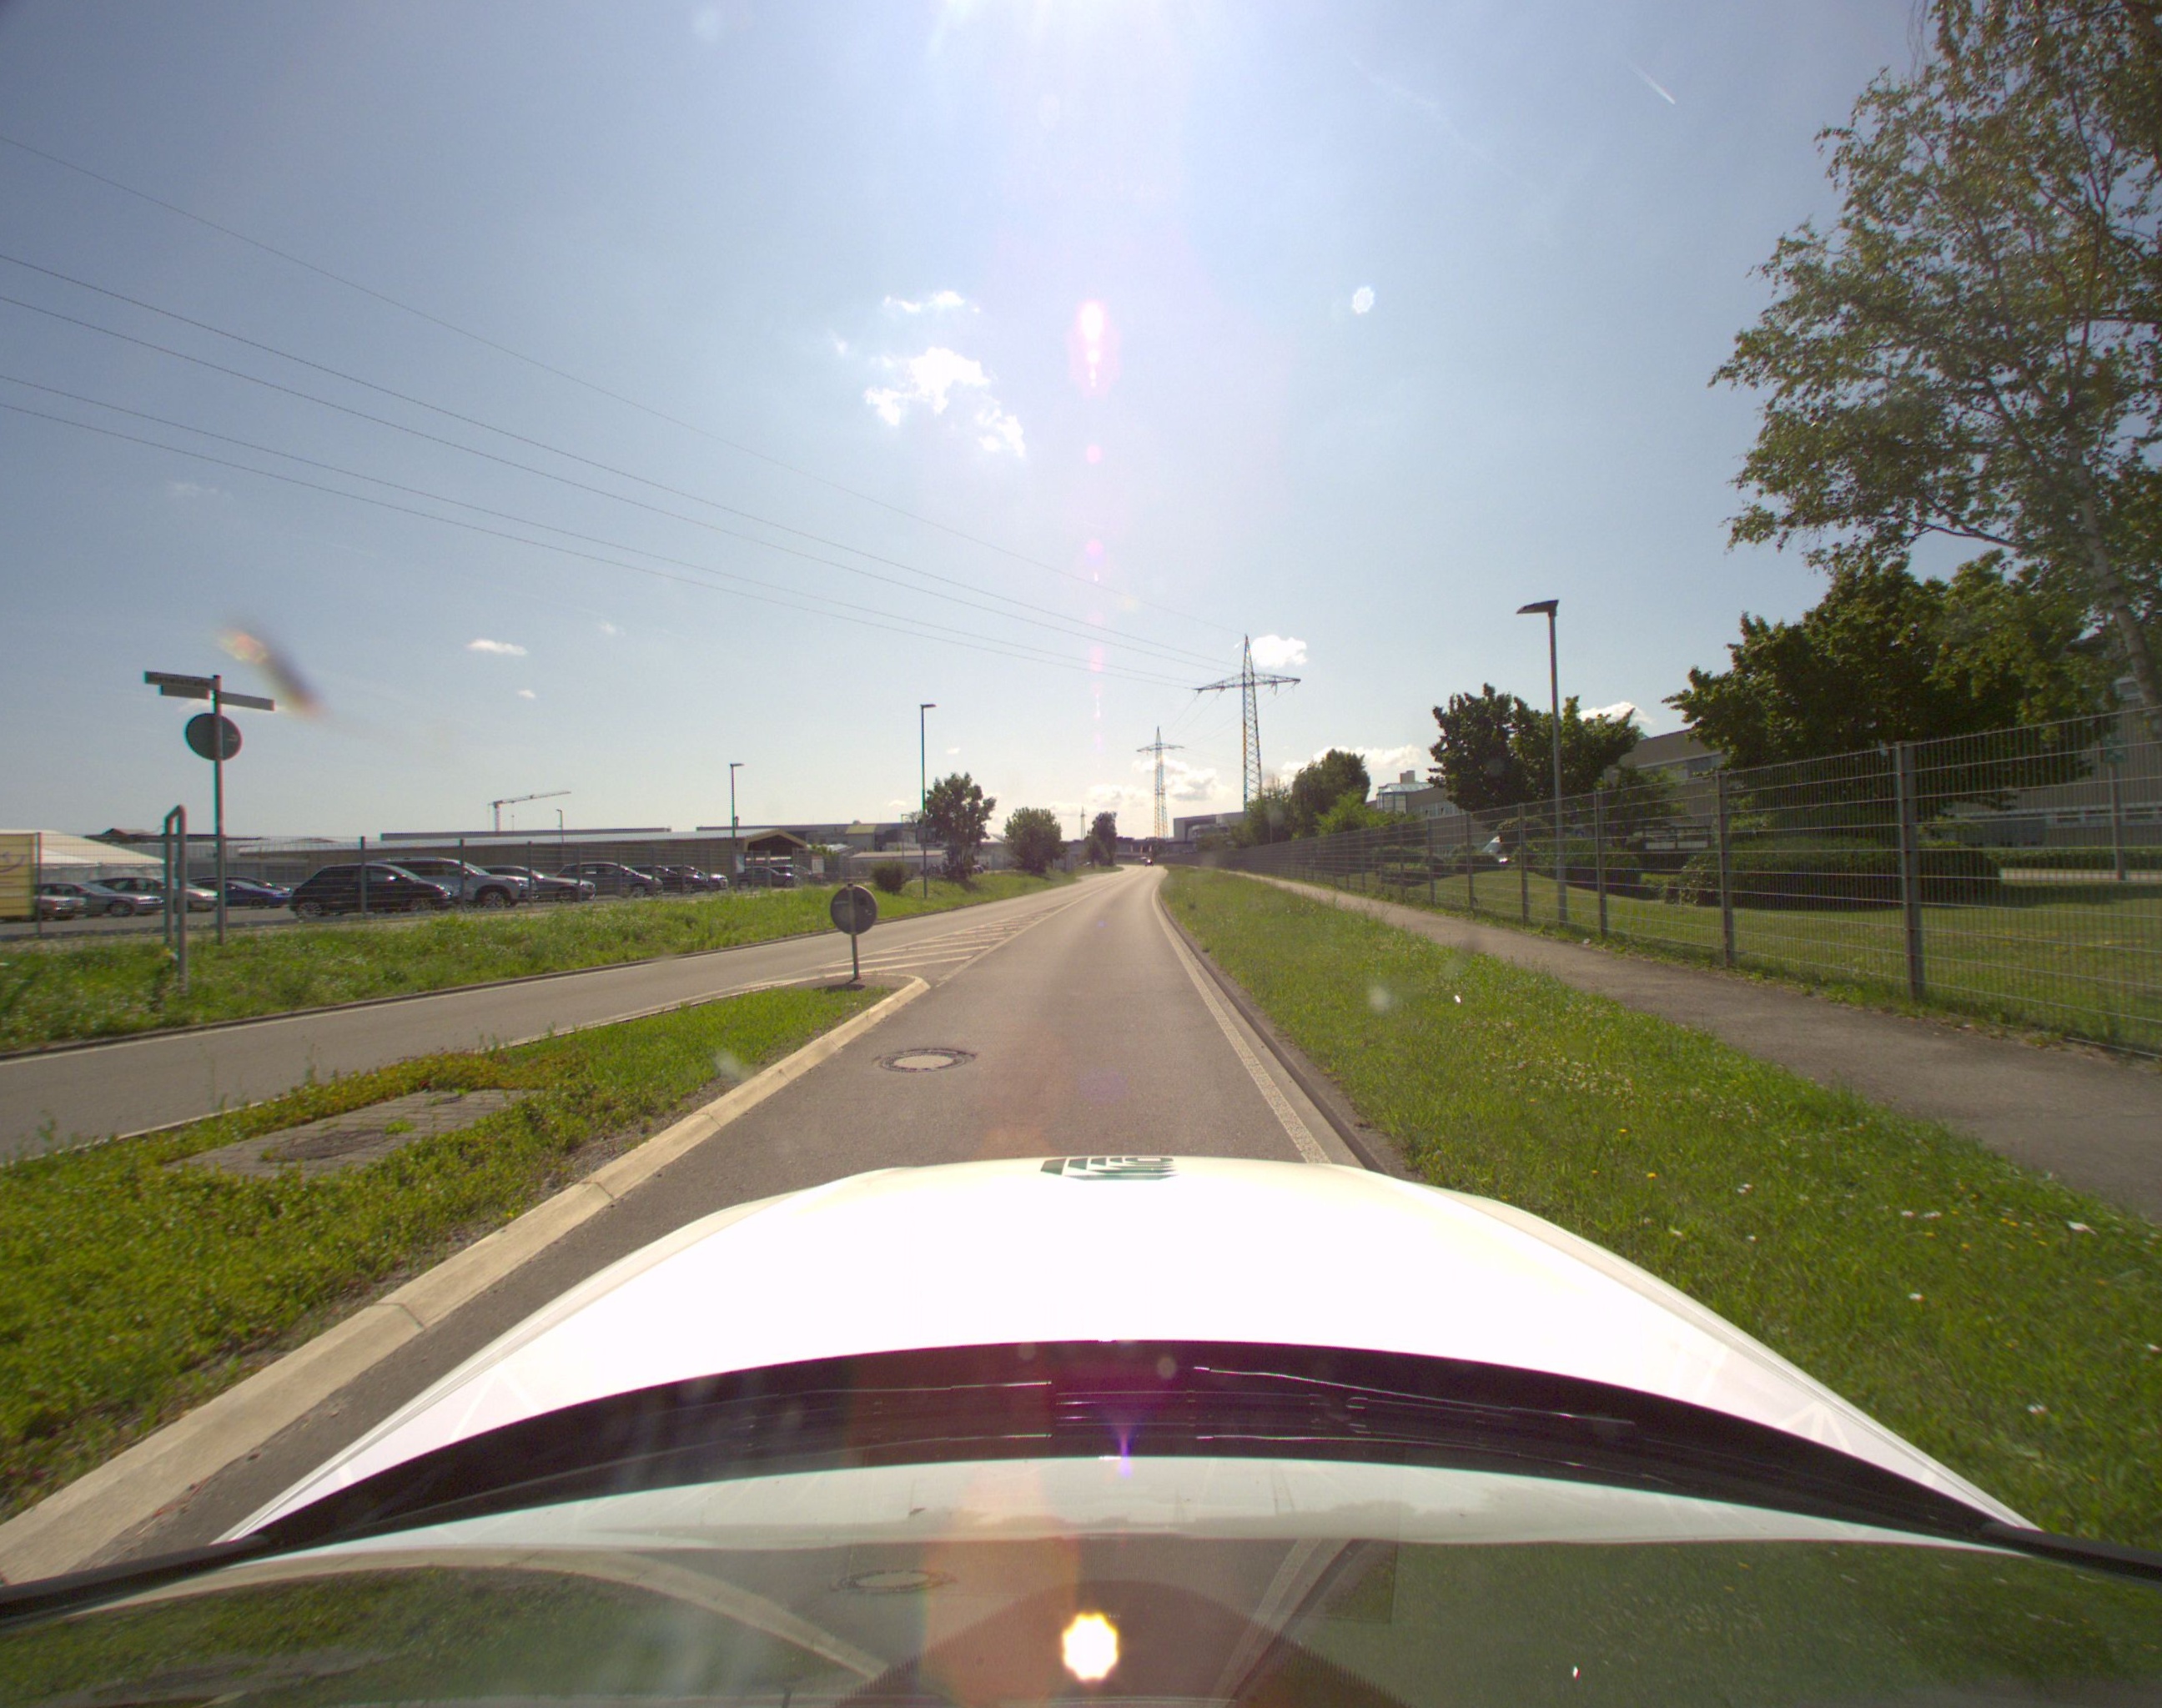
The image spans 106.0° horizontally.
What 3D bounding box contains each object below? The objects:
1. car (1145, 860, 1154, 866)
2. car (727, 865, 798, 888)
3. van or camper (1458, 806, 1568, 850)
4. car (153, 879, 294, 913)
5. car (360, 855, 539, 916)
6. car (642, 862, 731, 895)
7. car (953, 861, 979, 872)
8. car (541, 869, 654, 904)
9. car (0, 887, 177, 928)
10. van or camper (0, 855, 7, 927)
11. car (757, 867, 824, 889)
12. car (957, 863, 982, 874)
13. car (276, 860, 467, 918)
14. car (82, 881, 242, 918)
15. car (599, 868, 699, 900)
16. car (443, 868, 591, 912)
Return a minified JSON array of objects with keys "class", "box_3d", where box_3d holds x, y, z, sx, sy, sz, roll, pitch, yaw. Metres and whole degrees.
[{"class":"car","box_3d":[16.035,2.097,190.907,2.004,1.508,4.003,-2,-1,3]},{"class":"car","box_3d":[-20.219,1.382,51.734,4.009,1.310,1.925,-1,0,-28]},{"class":"van or camper","box_3d":[26.507,-1.558,50.049,5.754,2.518,1.999,1,-1,-1]},{"class":"car","box_3d":[-39.103,1.885,37.278,4.009,1.310,1.925,-1,0,-28]},{"class":"car","box_3d":[-19.669,0.935,25.606,4.115,1.705,1.709,-1,-1,-25]},{"class":"car","box_3d":[-20.242,1.224,41.836,4.009,1.540,1.925,-1,0,-28]},{"class":"car","box_3d":[-18.445,1.992,130.543,3.974,1.555,1.665,-2,-1,-1]},{"class":"car","box_3d":[-20.451,1.359,34.666,4.009,1.310,1.925,-1,0,-28]},{"class":"car","box_3d":[-37.966,1.998,31.202,4.009,1.310,1.925,-1,0,-28]},{"class":"van or camper","box_3d":[-37.879,1.268,25.165,5.353,2.375,1.877,-1,-1,-28]},{"class":"car","box_3d":[-19.521,1.579,54.776,4.009,1.310,1.925,-1,-1,-28]},{"class":"car","box_3d":[-18.683,2.434,136.638,3.974,1.640,2.000,-2,-1,0]},{"class":"car","box_3d":[-19.521,0.936,22.601,3.573,1.401,1.787,-1,-1,-22]},{"class":"car","box_3d":[-38.493,1.889,34.271,4.009,1.310,1.925,-1,-1,-28]},{"class":"car","box_3d":[-20.155,1.377,38.173,4.007,1.310,1.926,-1,-1,-26]},{"class":"car","box_3d":[-19.638,1.218,28.575,4.009,1.310,1.925,-1,-1,-28]}]
